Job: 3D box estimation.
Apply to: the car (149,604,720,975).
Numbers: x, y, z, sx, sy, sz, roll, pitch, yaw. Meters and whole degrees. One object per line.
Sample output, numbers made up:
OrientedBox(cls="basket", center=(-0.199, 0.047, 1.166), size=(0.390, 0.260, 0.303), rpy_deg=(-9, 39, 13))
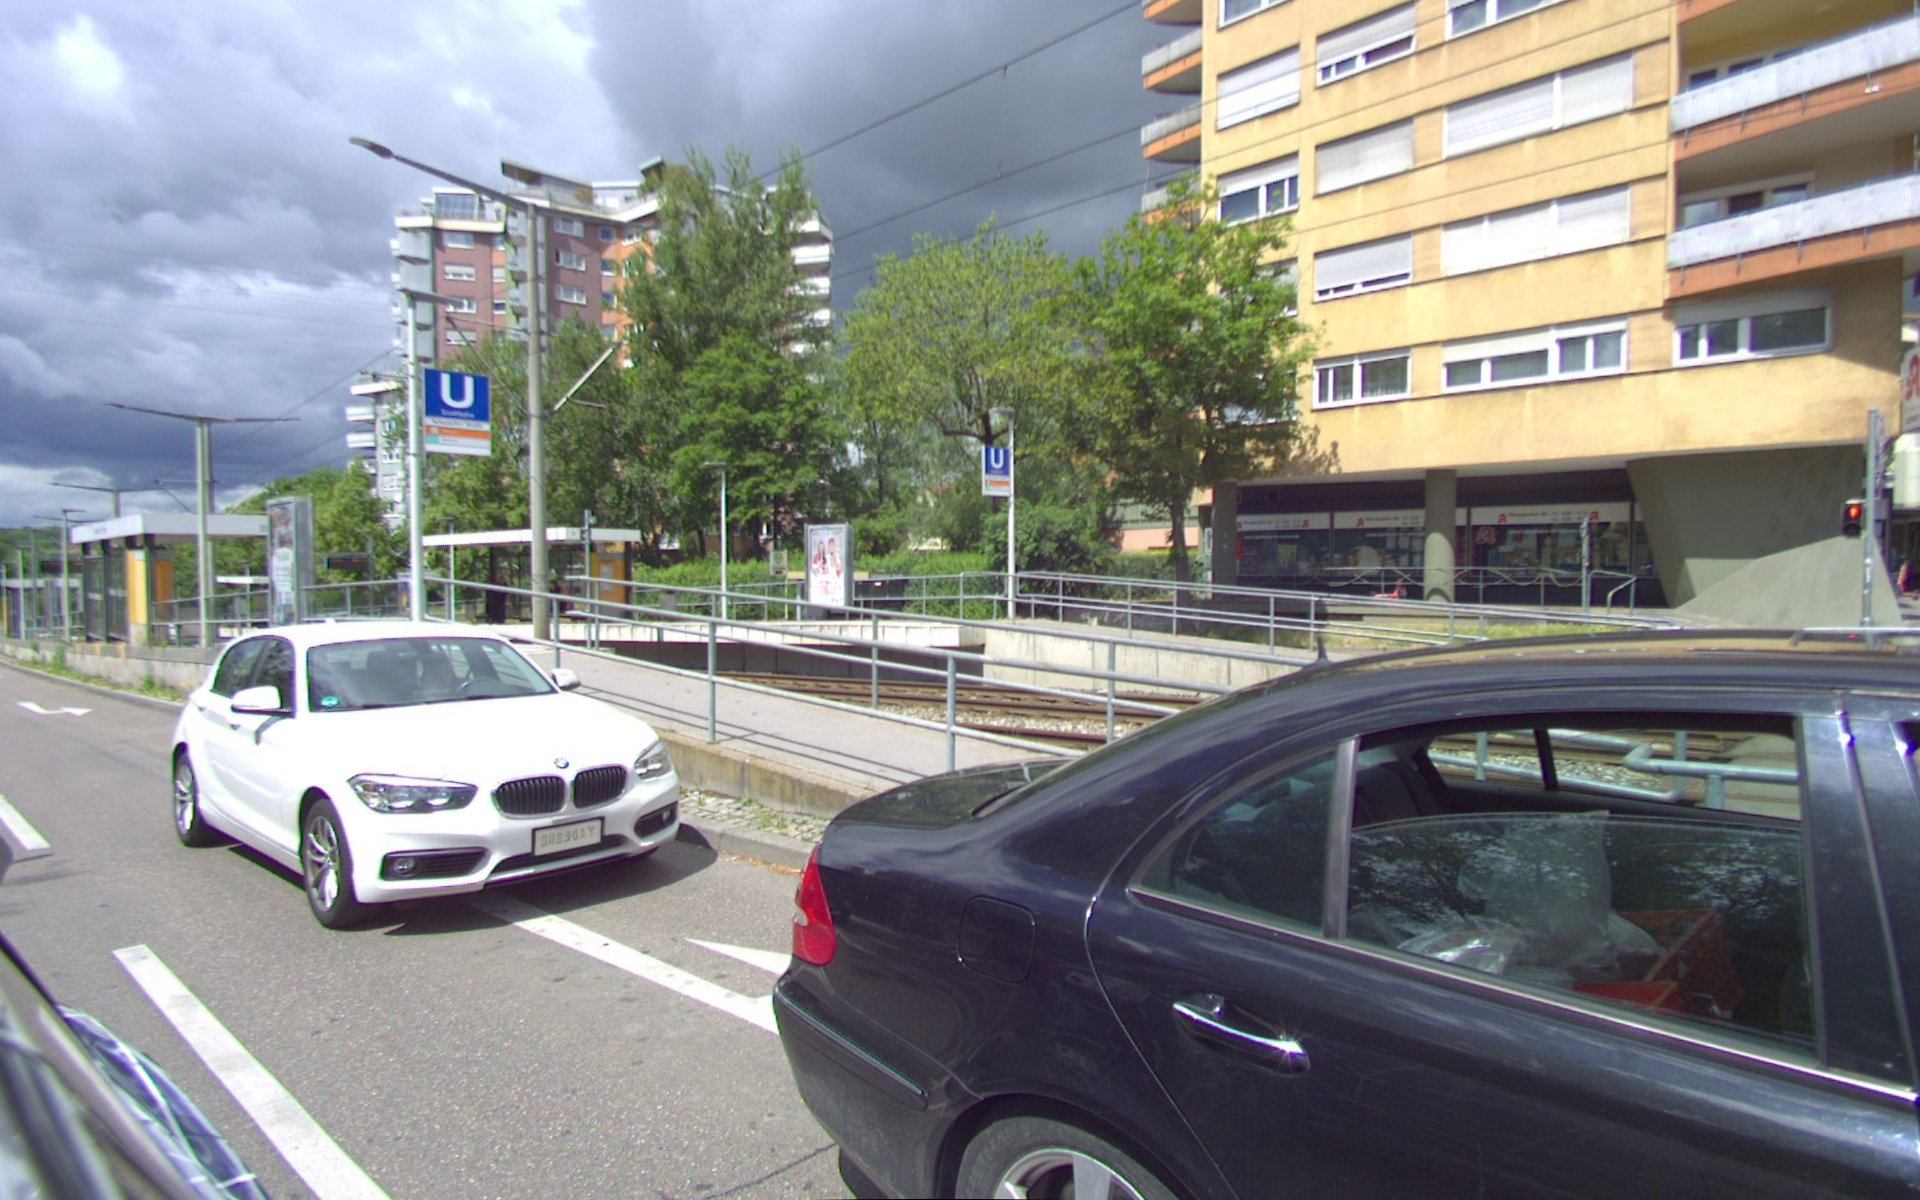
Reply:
OrientedBox(cls="car", center=(-3.343, 0.794, 6.070), size=(3.998, 1.472, 1.710), rpy_deg=(-1, 0, 41))

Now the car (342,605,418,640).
OrientedBox(cls="car", center=(-28.441, 1.111, 49.575), size=(4.459, 1.647, 1.972), rpy_deg=(-1, -2, 42))

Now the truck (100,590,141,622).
OrientedBox(cls="truck", center=(-92.689, 0.702, 111.686), size=(7.260, 3.247, 2.389), rpy_deg=(-2, -1, 42))

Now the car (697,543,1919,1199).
OrientedBox(cls="car", center=(1.686, 0.669, 1.388), size=(4.542, 1.472, 1.710), rpy_deg=(-1, 0, 41))
